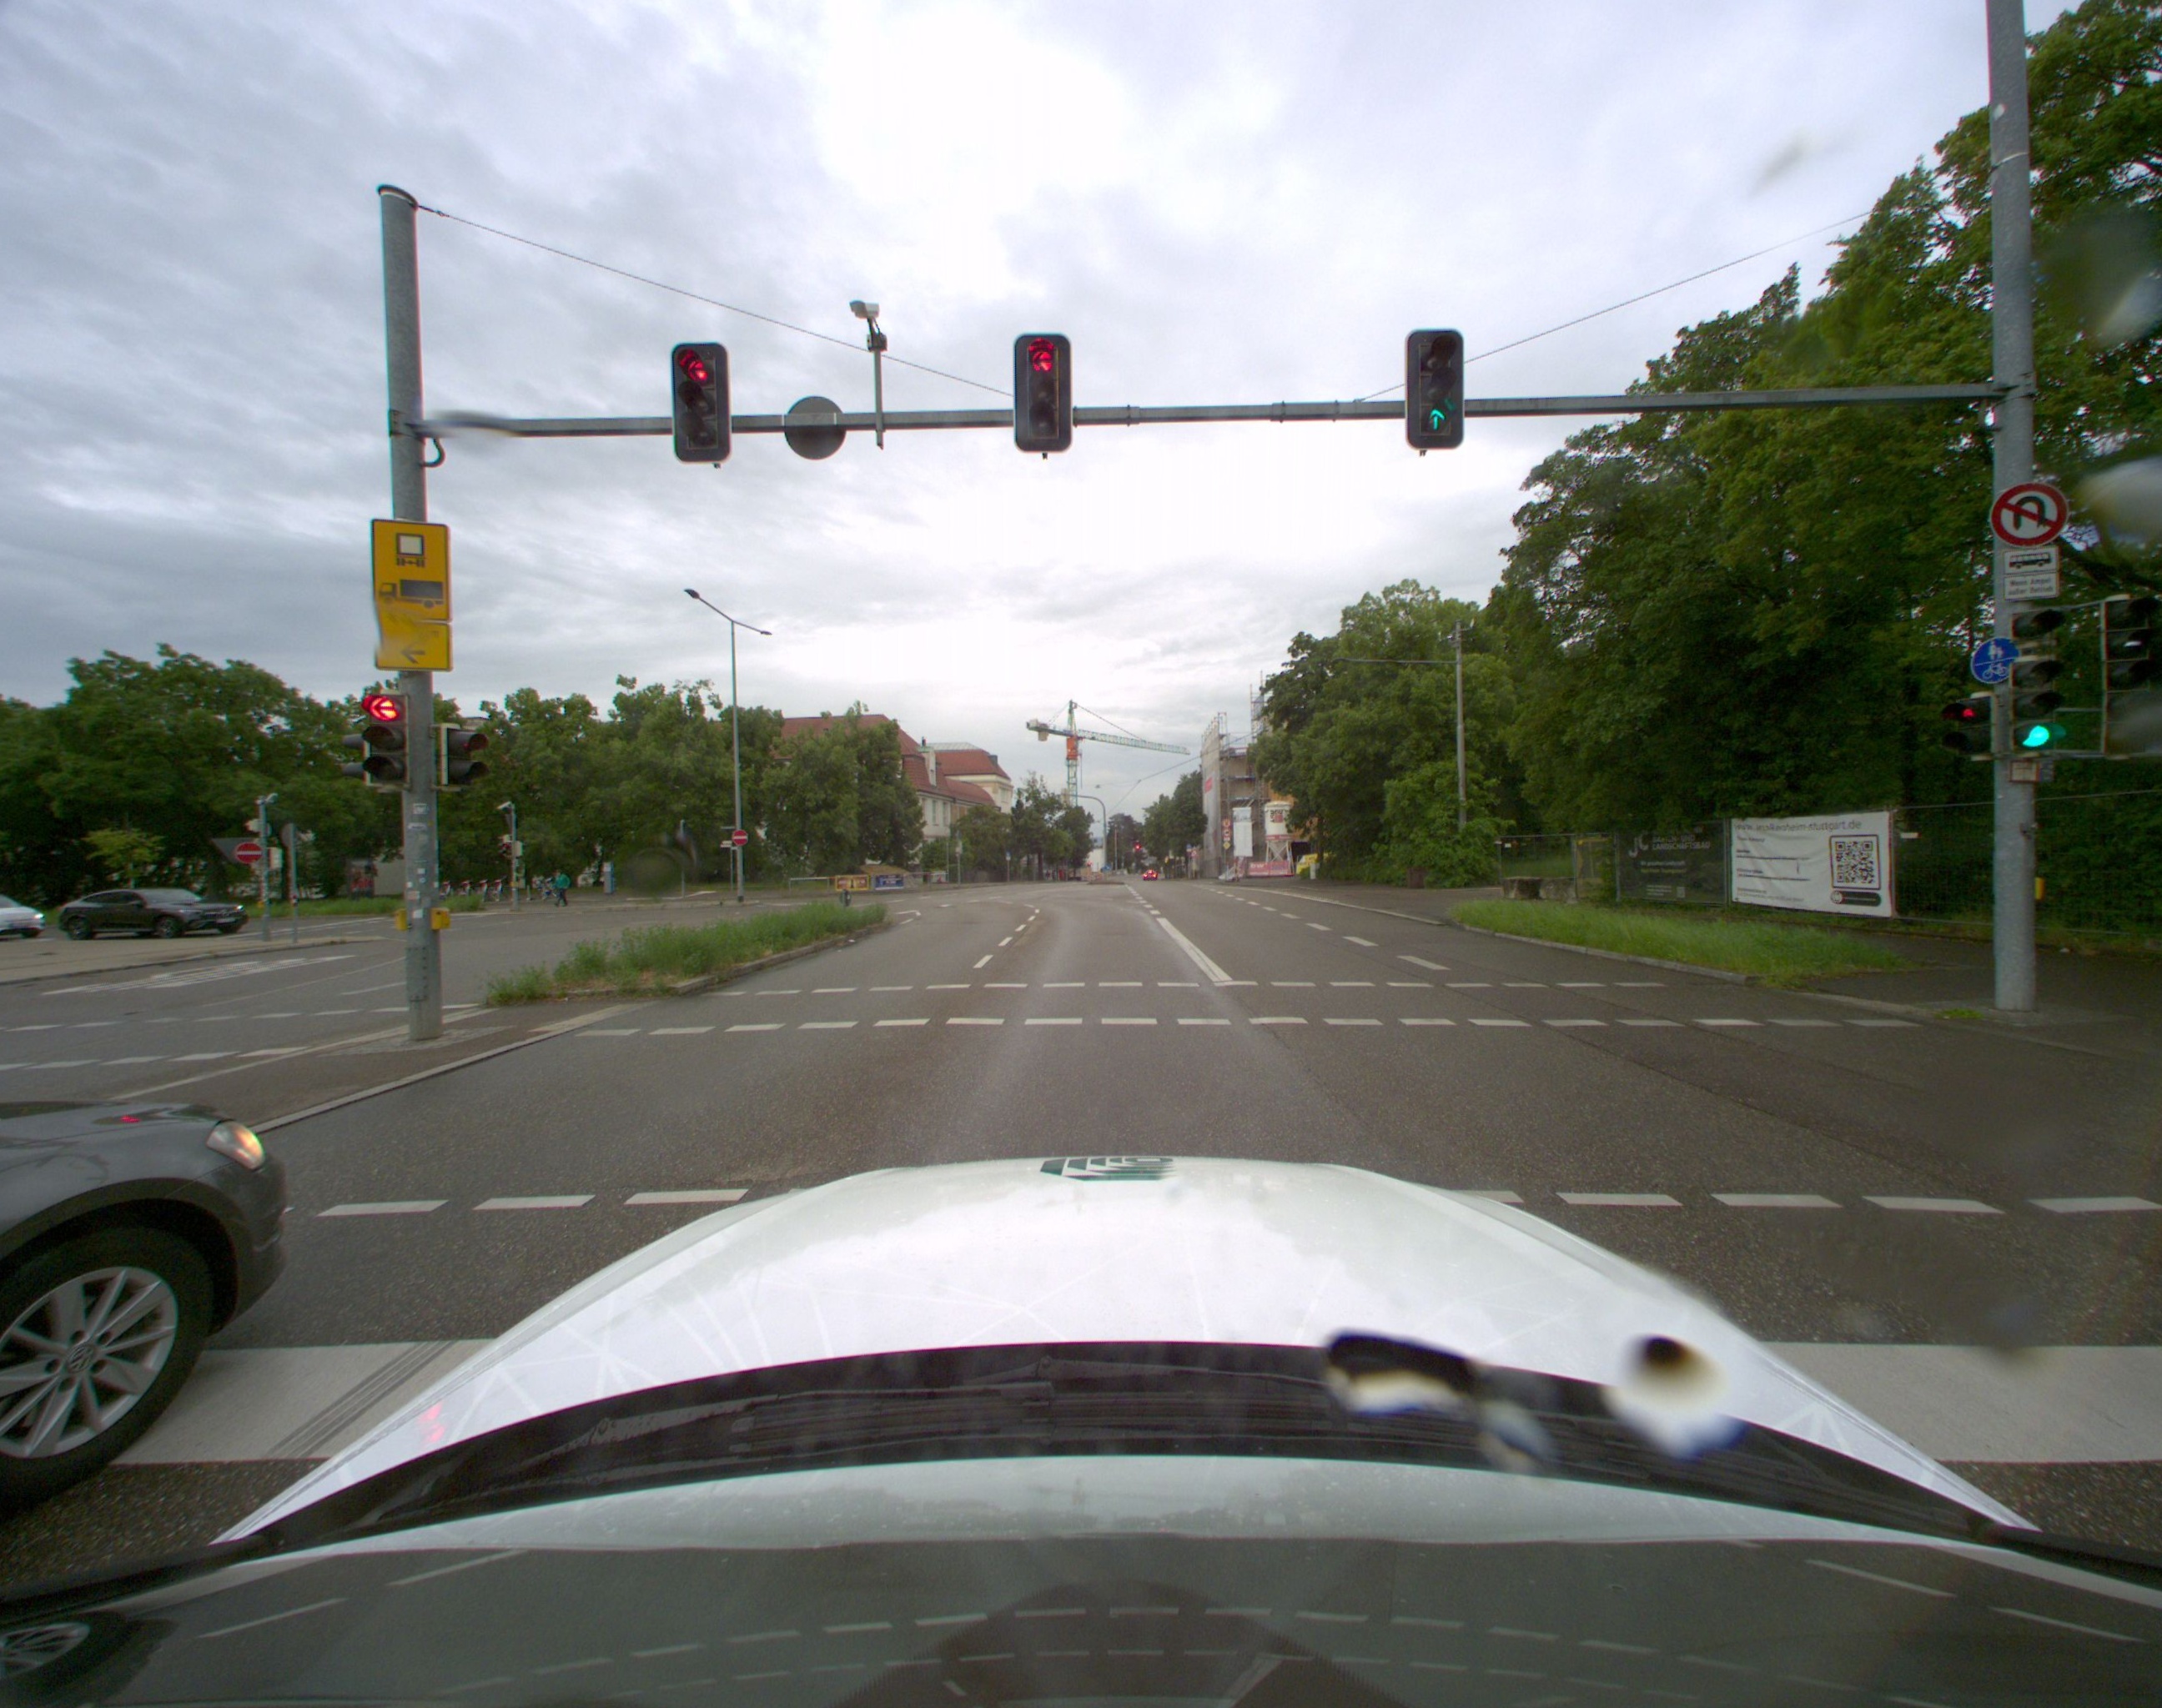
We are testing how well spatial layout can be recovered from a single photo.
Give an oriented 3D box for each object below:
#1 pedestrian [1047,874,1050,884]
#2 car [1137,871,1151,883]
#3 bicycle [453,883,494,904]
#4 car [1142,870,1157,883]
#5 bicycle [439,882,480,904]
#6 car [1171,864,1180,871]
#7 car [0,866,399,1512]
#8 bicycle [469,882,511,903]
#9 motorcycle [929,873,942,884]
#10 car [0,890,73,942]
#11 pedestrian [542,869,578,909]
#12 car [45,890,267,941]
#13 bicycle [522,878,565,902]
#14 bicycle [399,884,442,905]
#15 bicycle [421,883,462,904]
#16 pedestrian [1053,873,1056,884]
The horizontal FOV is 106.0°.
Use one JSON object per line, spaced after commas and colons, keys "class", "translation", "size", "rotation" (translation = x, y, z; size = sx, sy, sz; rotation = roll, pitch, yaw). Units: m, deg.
{"class": "pedestrian", "translation": [-4.945, 3.820, 123.773], "size": [0.473, 1.396, 0.411], "rotation": [-2, 0, 1]}
{"class": "car", "translation": [10.228, 3.659, 131.810], "size": [1.986, 1.750, 4.001], "rotation": [-2, 0, 1]}
{"class": "bicycle", "translation": [-33.013, 2.120, 44.278], "size": [0.649, 1.071, 1.982], "rotation": [0, -1, 2]}
{"class": "car", "translation": [10.473, 3.423, 124.912], "size": [1.986, 1.750, 4.001], "rotation": [-2, 0, 1]}
{"class": "bicycle", "translation": [-33.902, 2.116, 44.453], "size": [0.649, 1.071, 1.982], "rotation": [0, -1, 2]}
{"class": "car", "translation": [25.485, 3.499, 218.949], "size": [1.980, 1.750, 4.014], "rotation": [-2, 0, 13]}
{"class": "car", "translation": [-3.461, 0.804, 0.777], "size": [1.809, 1.481, 4.378], "rotation": [-2, 0, 2]}
{"class": "bicycle", "translation": [-32.263, 2.068, 44.510], "size": [0.798, 1.071, 1.982], "rotation": [0, -1, 2]}
{"class": "motorcycle", "translation": [-11.614, 1.953, 65.103], "size": [0.846, 0.877, 0.877], "rotation": [0, -1, 1]}
{"class": "car", "translation": [-36.490, 2.038, 27.054], "size": [3.539, 1.594, 2.001], "rotation": [0, -1, 1]}
{"class": "pedestrian", "translation": [-23.061, 1.542, 36.071], "size": [0.918, 1.727, 0.948], "rotation": [0, -1, 6]}
{"class": "car", "translation": [-30.069, 1.986, 26.589], "size": [5.006, 1.500, 2.001], "rotation": [0, -1, 1]}
{"class": "bicycle", "translation": [-29.430, 1.941, 44.619], "size": [0.987, 1.249, 1.982], "rotation": [0, -1, 2]}
{"class": "bicycle", "translation": [-35.958, 2.179, 44.369], "size": [0.649, 1.071, 1.982], "rotation": [0, -1, 2]}
{"class": "bicycle", "translation": [-34.981, 2.144, 44.584], "size": [0.649, 1.071, 1.982], "rotation": [0, -1, 2]}
{"class": "pedestrian", "translation": [-4.041, 3.731, 123.735], "size": [0.492, 1.645, 0.533], "rotation": [0, -1, -4]}
